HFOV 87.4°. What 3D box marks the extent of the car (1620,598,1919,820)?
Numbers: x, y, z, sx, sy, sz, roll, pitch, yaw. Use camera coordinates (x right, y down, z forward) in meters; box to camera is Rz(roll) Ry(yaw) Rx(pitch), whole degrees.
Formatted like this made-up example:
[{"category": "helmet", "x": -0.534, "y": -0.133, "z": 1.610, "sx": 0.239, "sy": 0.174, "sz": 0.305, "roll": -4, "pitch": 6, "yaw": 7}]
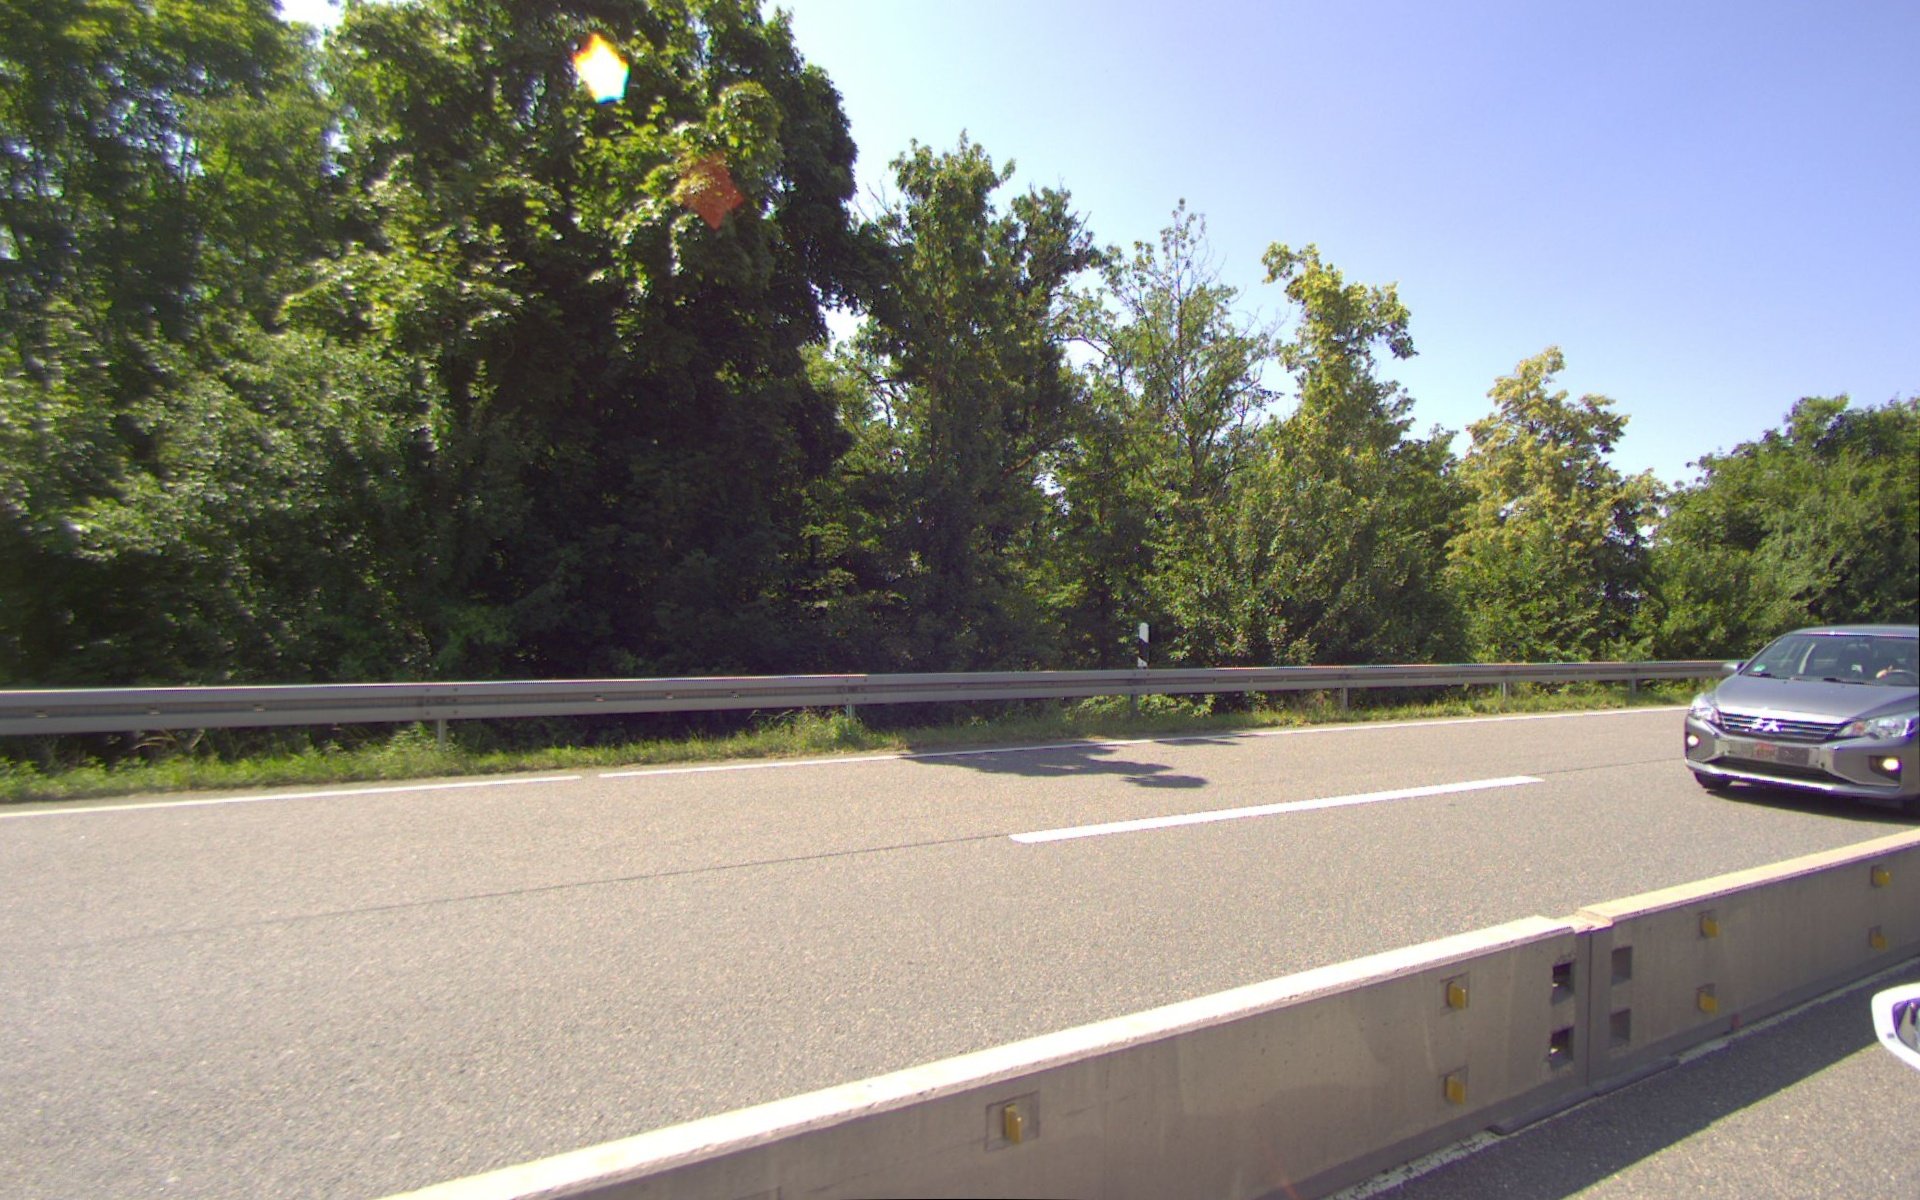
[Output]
[{"category": "car", "x": 8.290, "y": 0.850, "z": 9.209, "sx": 4.382, "sy": 1.600, "sz": 1.940, "roll": 2, "pitch": 0, "yaw": -29}]
